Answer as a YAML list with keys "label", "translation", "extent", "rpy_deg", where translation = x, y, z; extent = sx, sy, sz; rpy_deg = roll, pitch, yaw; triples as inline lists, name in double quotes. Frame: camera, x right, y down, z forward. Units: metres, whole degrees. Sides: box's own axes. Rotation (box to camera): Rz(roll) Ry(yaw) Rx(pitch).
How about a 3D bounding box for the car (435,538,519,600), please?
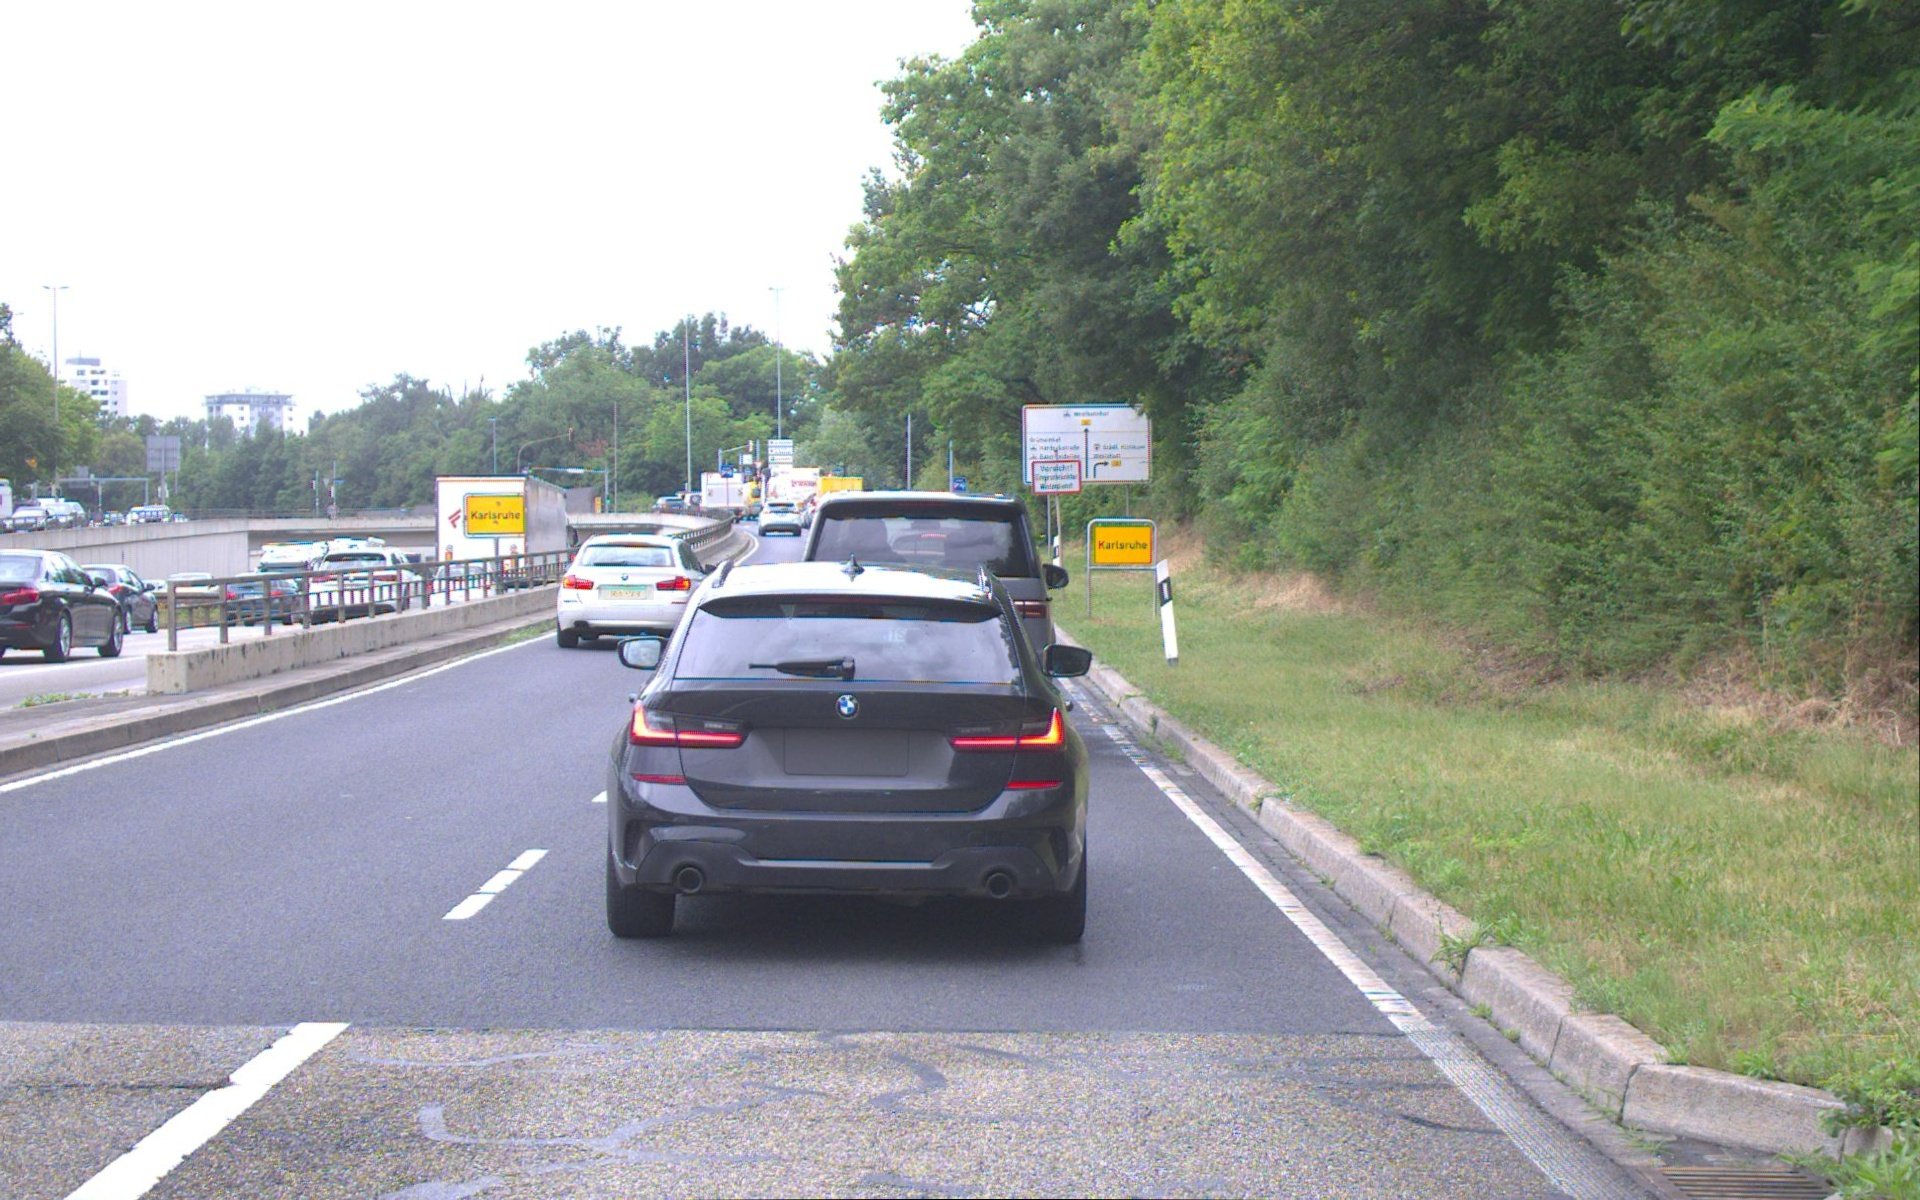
- label: "car"
  translation: [-12.284, -0.810, 87.619]
  extent: [1.768, 1.544, 3.493]
  rpy_deg: [0, 1, -2]

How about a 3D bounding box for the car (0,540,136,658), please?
- label: "car"
  translation: [-12.287, -0.051, 45.323]
  extent: [1.712, 1.452, 4.666]
  rpy_deg: [1, 1, 0]

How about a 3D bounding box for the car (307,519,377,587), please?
- label: "car"
  translation: [-18.654, -1.436, 103.905]
  extent: [1.443, 2.037, 3.680]
  rpy_deg: [0, 1, 0]

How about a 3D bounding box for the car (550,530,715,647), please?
- label: "car"
  translation: [-4.317, -0.191, 45.985]
  extent: [1.859, 1.459, 4.885]
  rpy_deg: [1, 1, -2]

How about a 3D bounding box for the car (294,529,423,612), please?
- label: "car"
  translation: [-12.597, -0.646, 72.262]
  extent: [1.946, 1.686, 4.507]
  rpy_deg: [0, 1, 0]

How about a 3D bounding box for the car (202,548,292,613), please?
- label: "car"
  translation: [-18.843, -0.541, 90.931]
  extent: [1.687, 1.626, 3.735]
  rpy_deg: [1, 1, -2]

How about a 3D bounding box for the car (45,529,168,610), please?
- label: "car"
  translation: [-17.941, -0.666, 72.388]
  extent: [1.687, 1.602, 4.008]
  rpy_deg: [1, 1, -2]

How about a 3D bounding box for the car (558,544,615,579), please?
- label: "car"
  translation: [-22.216, -2.315, 204.201]
  extent: [3.202, 2.021, 5.077]
  rpy_deg: [0, 1, -8]

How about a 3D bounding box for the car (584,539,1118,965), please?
- label: "car"
  translation: [-0.462, 0.502, 14.077]
  extent: [1.846, 1.461, 4.001]
  rpy_deg: [1, 1, -2]

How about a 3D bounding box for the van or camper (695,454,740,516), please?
- label: "van or camper"
  translation: [-11.187, -5.291, 158.891]
  extent: [1.993, 2.811, 4.001]
  rpy_deg: [0, 1, -3]

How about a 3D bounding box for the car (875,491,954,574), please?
- label: "car"
  translation: [-0.861, -1.272, 65.017]
  extent: [1.452, 1.535, 3.225]
  rpy_deg: [0, 1, -1]

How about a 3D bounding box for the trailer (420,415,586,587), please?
- label: "trailer"
  translation: [-13.440, -2.853, 102.454]
  extent: [3.132, 4.709, 14.559]
  rpy_deg: [1, 1, -1]

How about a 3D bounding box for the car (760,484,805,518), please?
- label: "car"
  translation: [-8.404, -4.666, 162.771]
  extent: [1.930, 1.590, 3.878]
  rpy_deg: [0, 1, -6]

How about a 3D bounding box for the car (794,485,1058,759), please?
- label: "car"
  translation: [-0.251, 0.117, 25.569]
  extent: [1.796, 1.865, 4.000]
  rpy_deg: [0, 1, -1]

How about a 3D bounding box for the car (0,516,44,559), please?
- label: "car"
  translation: [-41.371, -2.736, 150.424]
  extent: [1.655, 1.830, 3.622]
  rpy_deg: [0, 1, -1]
